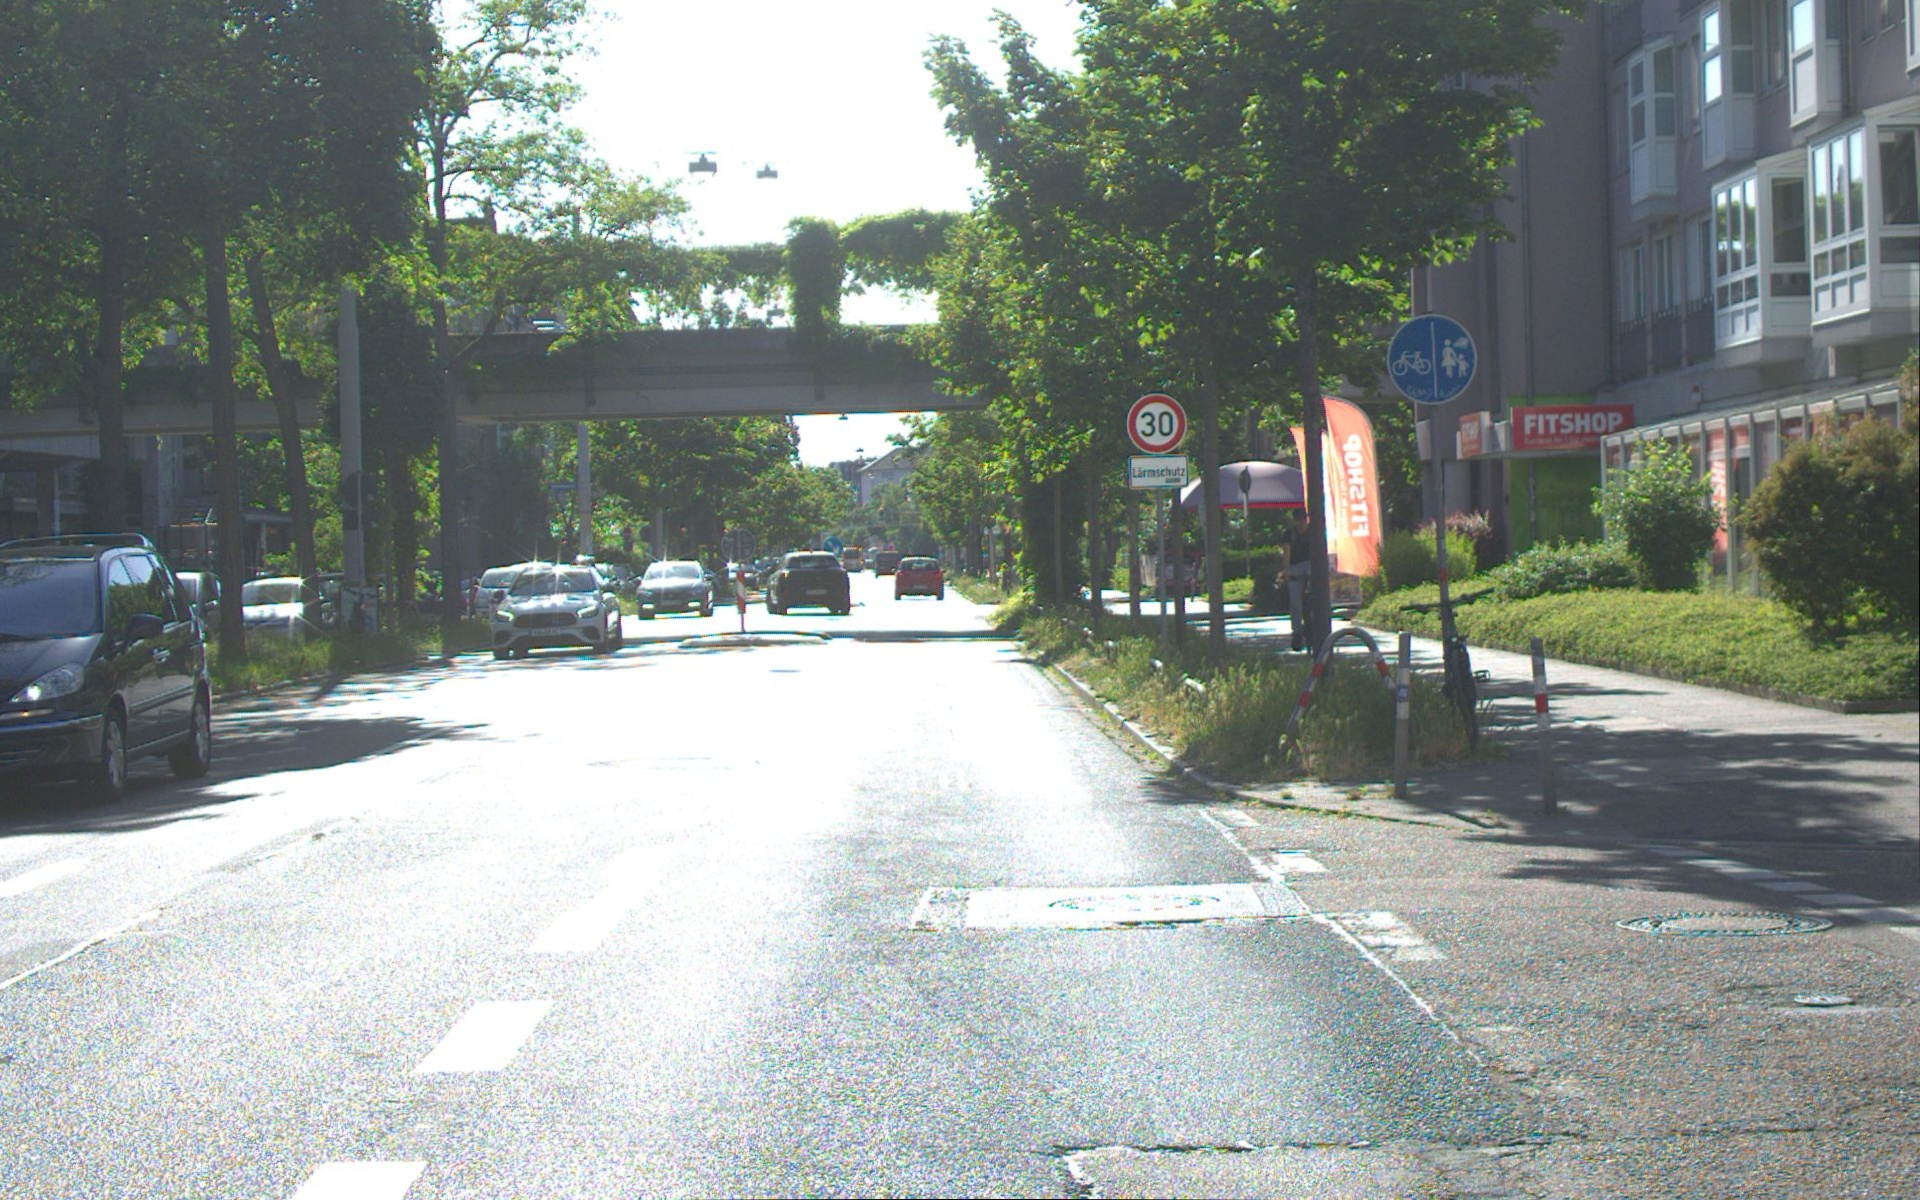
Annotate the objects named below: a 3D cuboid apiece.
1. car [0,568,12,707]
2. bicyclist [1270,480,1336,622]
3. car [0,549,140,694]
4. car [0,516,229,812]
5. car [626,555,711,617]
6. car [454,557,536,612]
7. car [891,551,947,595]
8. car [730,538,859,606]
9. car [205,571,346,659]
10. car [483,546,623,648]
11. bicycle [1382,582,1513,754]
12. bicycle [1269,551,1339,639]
[{"bbox_3d":[-12.402,0.482,40.088,1.855,1.678,4.666,0,1,-6],"label":"car"},{"bbox_3d":[4.139,-0.582,41.475,0.667,1.689,0.889,-1,0,-1],"label":"bicyclist"},{"bbox_3d":[-12.386,0.240,46.010,1.855,1.843,4.562,0,1,-2],"label":"car"},{"bbox_3d":[-6.445,0.399,23.771,1.855,1.819,4.610,-3,1,-2],"label":"car"},{"bbox_3d":[-7.396,-0.373,87.619,1.855,1.435,4.319,-3,1,-2],"label":"car"},{"bbox_3d":[-13.120,-0.455,97.216,1.855,1.518,4.078,0,1,-2],"label":"car"},{"bbox_3d":[-1.408,-0.954,120.254,1.856,1.518,4.319,0,1,1],"label":"car"},{"bbox_3d":[-4.115,-0.701,84.906,1.984,1.595,4.141,-1,1,-21],"label":"car"},{"bbox_3d":[-12.623,0.248,63.652,1.855,1.518,4.319,0,1,-2],"label":"car"},{"bbox_3d":[-6.822,-0.088,58.058,1.855,1.563,4.716,-3,1,-1],"label":"car"},{"bbox_3d":[3.276,0.433,22.996,0.591,1.062,2.021,-1,1,16],"label":"bicycle"},{"bbox_3d":[4.150,-0.059,41.537,0.589,1.024,1.860,-1,0,-2],"label":"bicycle"}]
